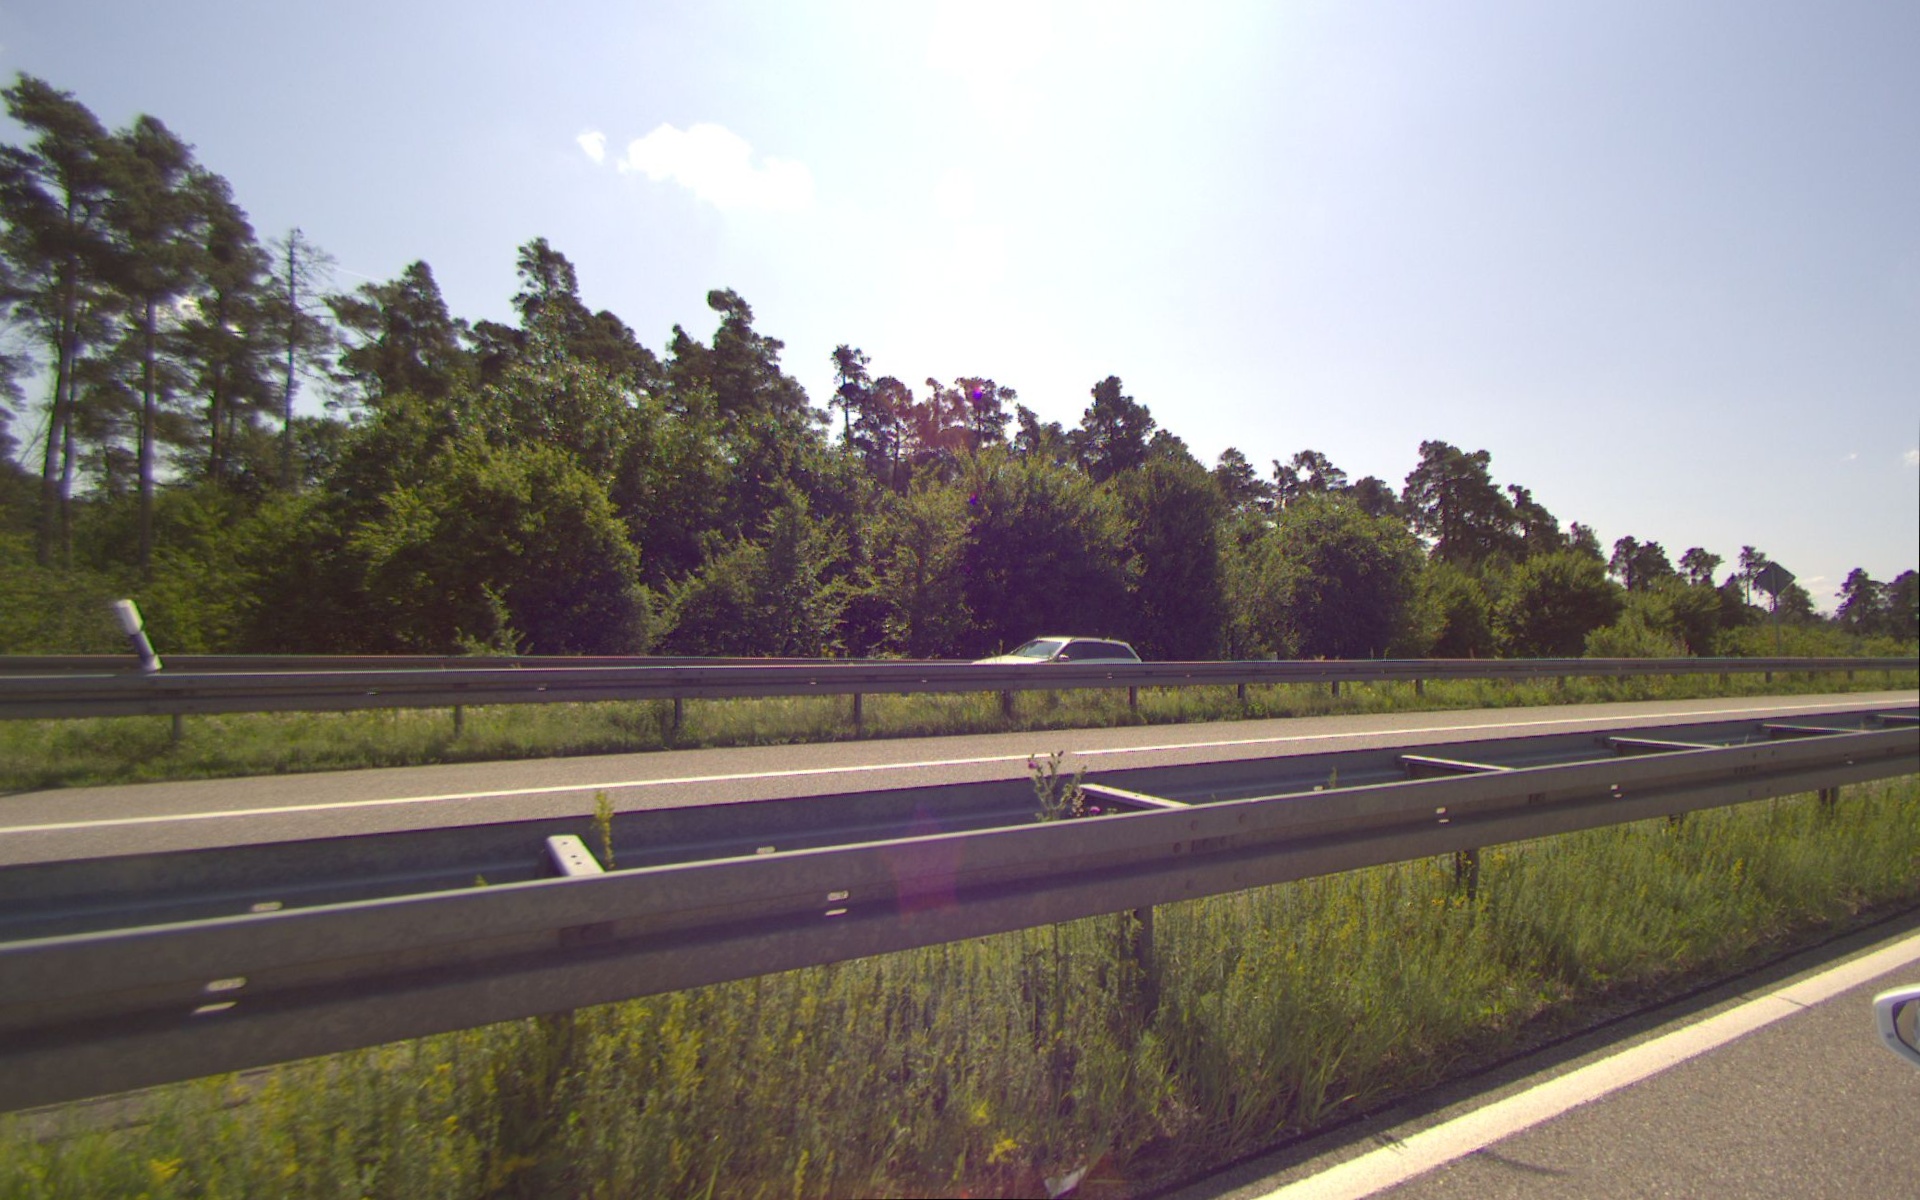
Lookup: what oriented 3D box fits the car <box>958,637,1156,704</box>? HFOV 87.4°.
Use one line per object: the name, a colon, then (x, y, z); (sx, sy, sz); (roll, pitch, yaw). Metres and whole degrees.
car: (2.419, 1.629, 24.235); (4.791, 1.432, 1.932); (2, -1, -39)
